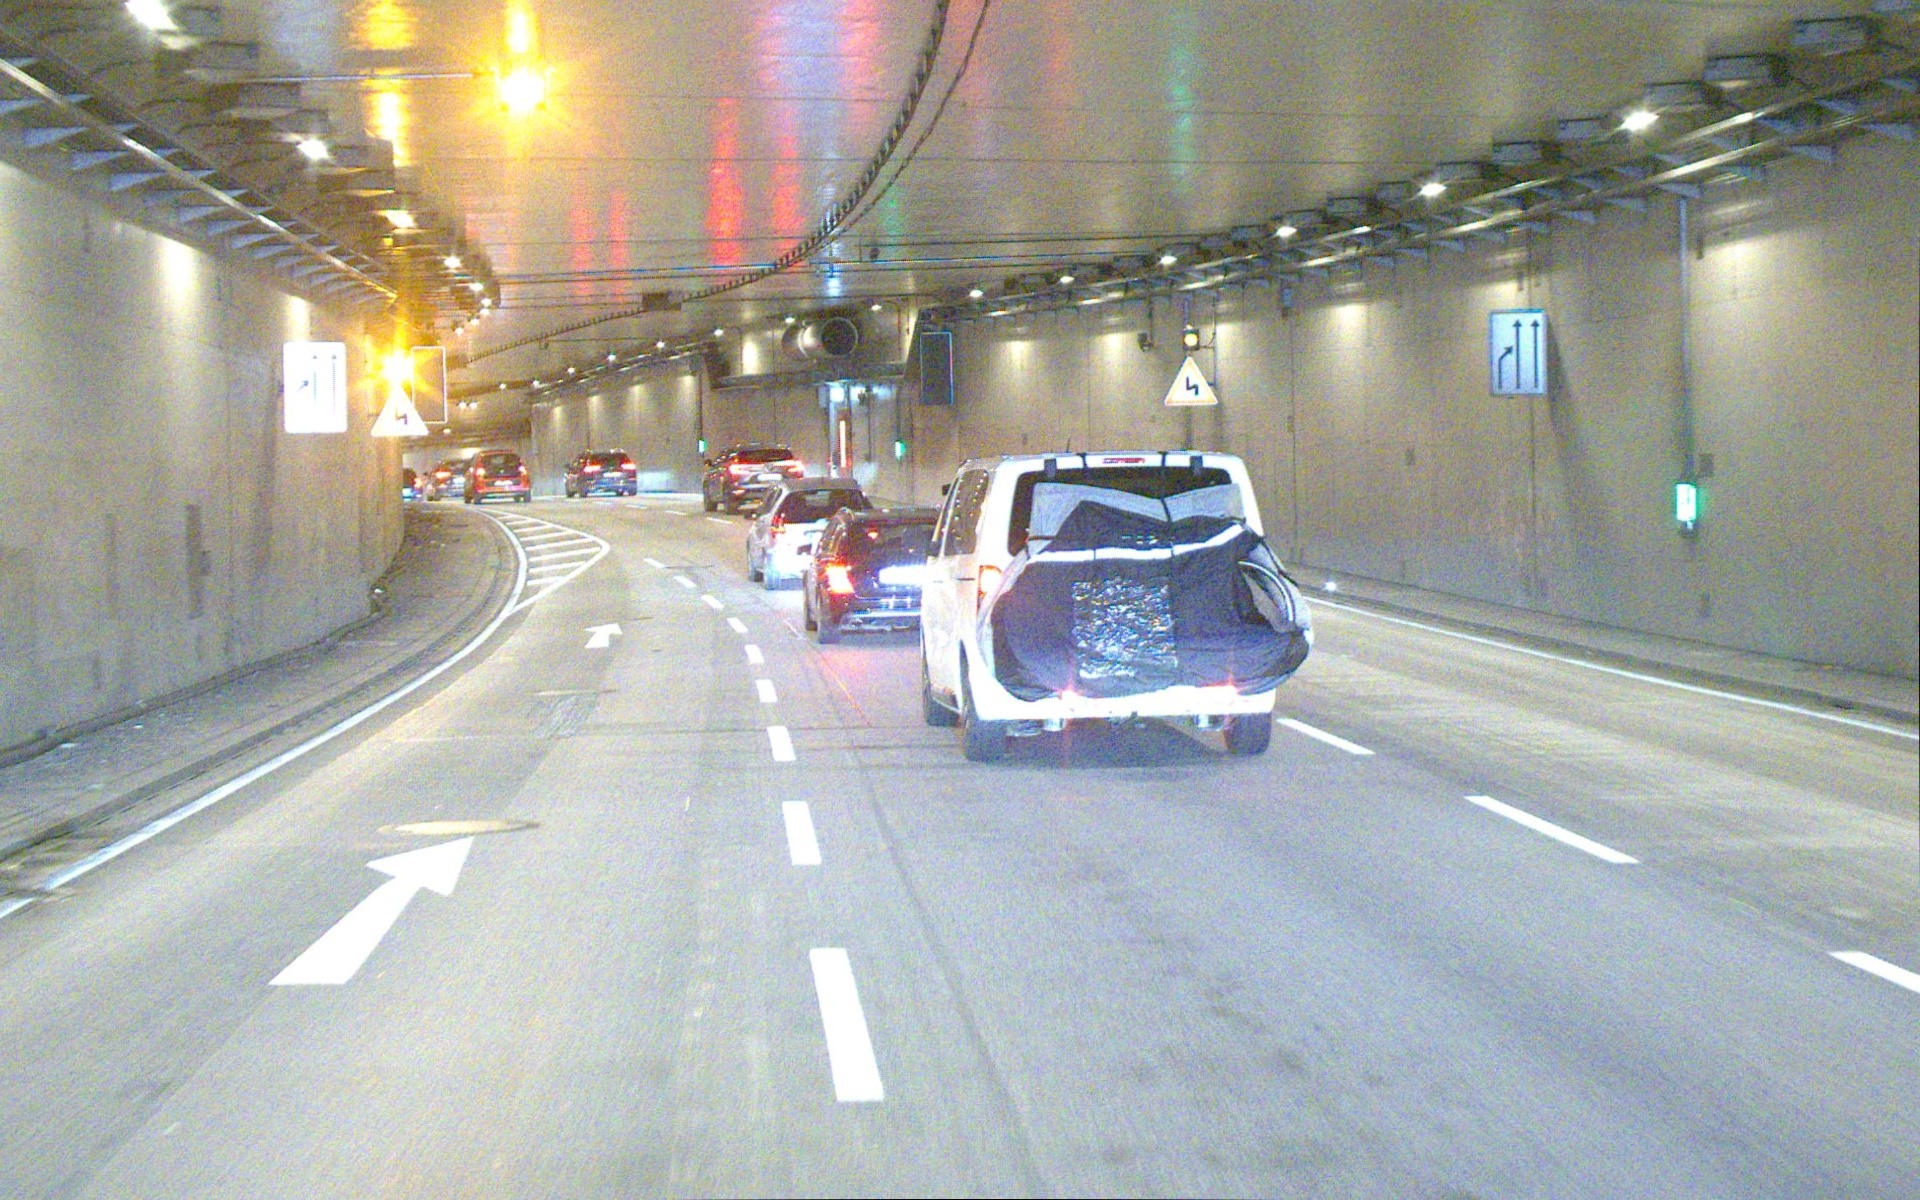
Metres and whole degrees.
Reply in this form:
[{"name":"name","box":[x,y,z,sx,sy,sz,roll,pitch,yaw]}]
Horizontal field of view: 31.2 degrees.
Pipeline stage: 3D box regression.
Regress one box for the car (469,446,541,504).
[{"name":"car","box":[-13.337,-3.645,100.594,1.822,1.624,3.845,0,1,-12]}]

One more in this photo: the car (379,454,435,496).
[{"name":"car","box":[-22.157,-4.989,137.576,1.822,1.624,3.845,0,1,-15]}]

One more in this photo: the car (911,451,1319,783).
[{"name":"car","box":[0.831,0.007,21.828,1.993,1.841,5.302,0,2,-4]}]

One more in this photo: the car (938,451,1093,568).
[{"name":"car","box":[0.824,-1.389,53.819,1.872,1.755,4.001,0,1,-7]}]

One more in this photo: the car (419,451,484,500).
[{"name":"car","box":[-17.422,-4.244,117.661,1.822,1.624,3.845,0,1,-14]}]

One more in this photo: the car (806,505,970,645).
[{"name":"car","box":[-0.805,-0.302,36.783,1.602,1.390,3.278,0,2,-4]}]

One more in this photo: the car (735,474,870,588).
[{"name":"car","box":[-2.323,-1.034,50.106,1.602,1.588,3.357,-1,2,-9]}]

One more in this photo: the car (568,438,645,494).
[{"name":"car","box":[-10.803,-4.077,104.824,1.822,1.624,3.845,0,1,-14]}]

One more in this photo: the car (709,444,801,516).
[{"name":"car","box":[-4.780,-2.764,79.725,1.602,1.624,3.357,0,1,-13]}]
